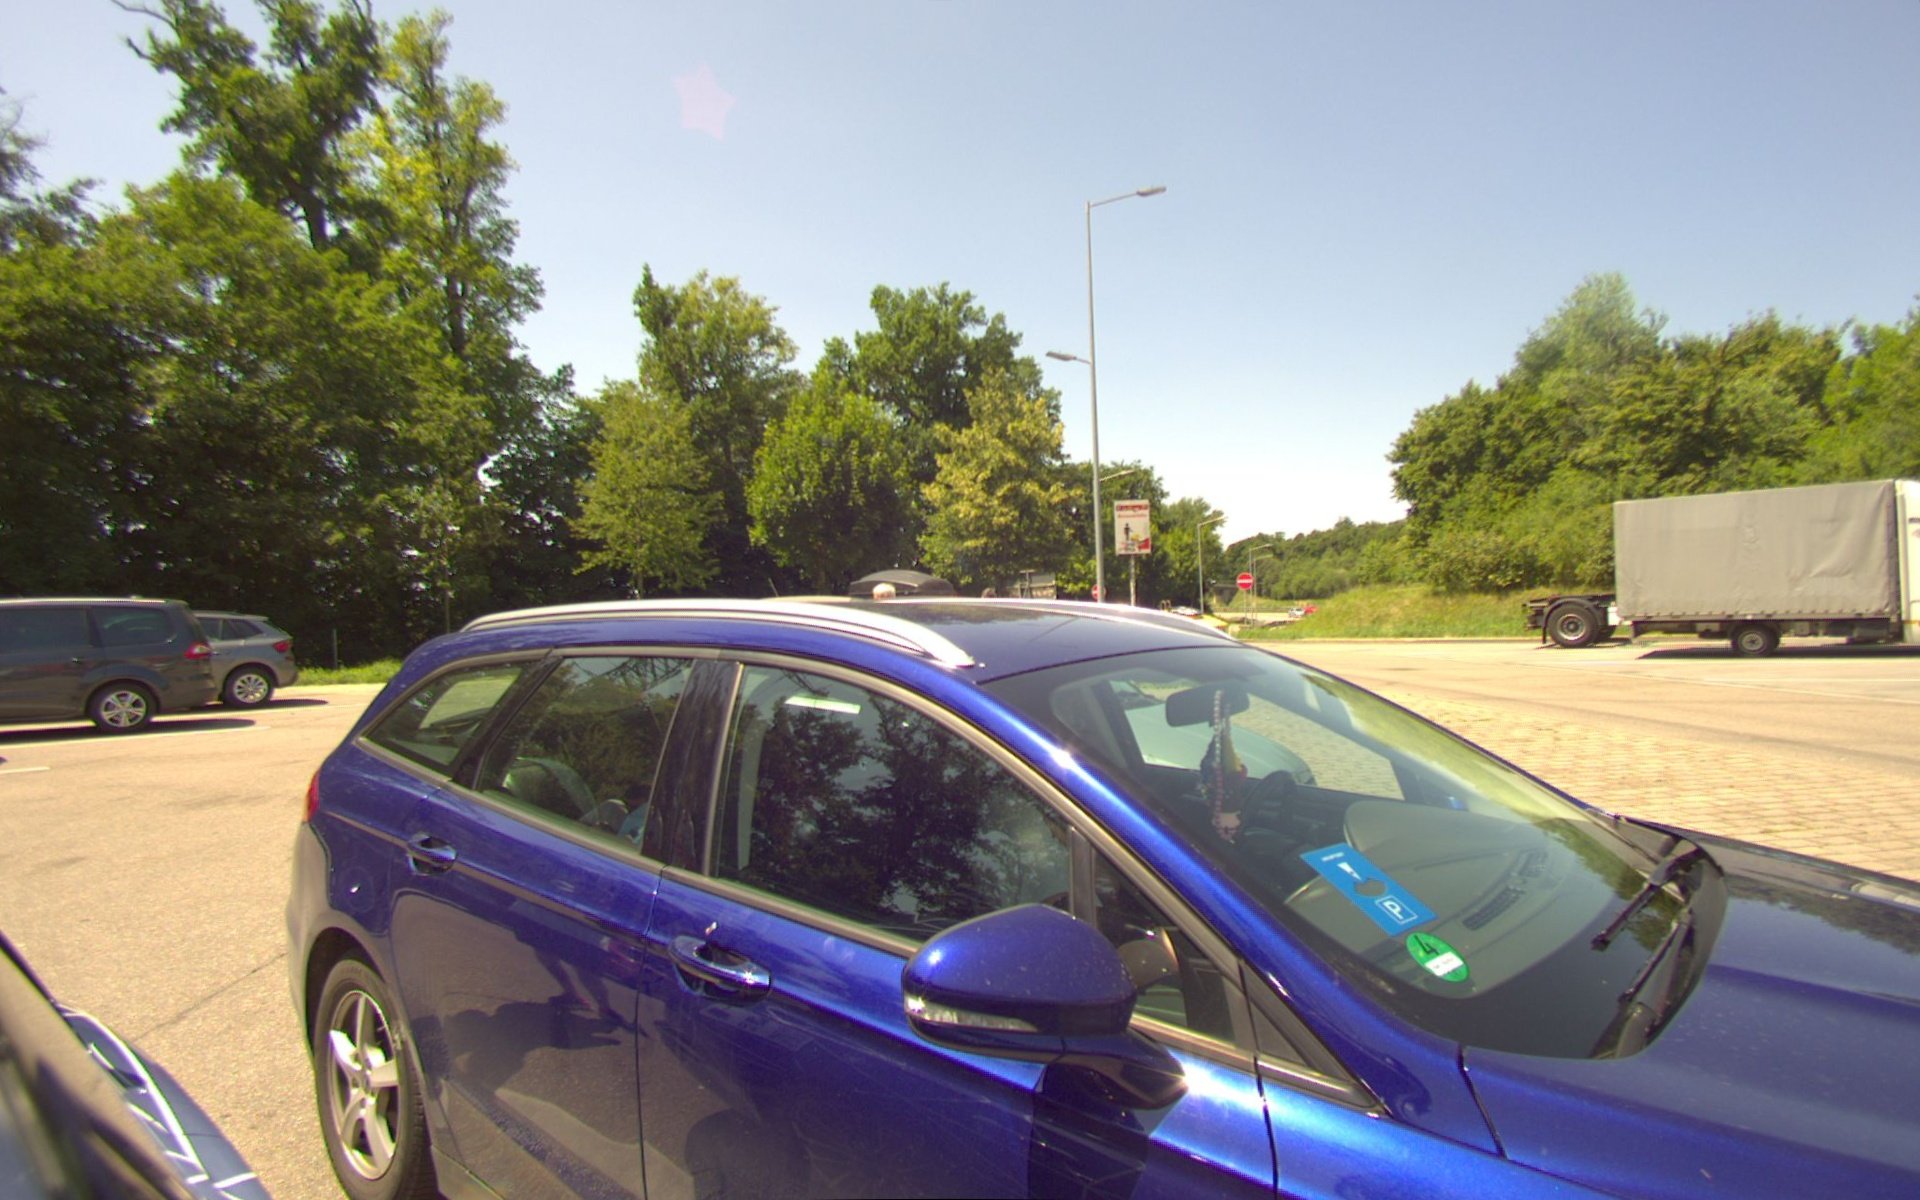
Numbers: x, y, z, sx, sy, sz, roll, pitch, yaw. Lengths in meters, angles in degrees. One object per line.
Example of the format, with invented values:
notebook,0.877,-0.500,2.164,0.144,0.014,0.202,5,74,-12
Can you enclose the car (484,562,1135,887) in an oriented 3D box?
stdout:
car,-1.252,0.637,6.733,4.466,1.476,1.756,-3,-1,40

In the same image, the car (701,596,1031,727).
car,-1.384,0.764,13.555,4.466,1.476,1.756,-3,-1,40

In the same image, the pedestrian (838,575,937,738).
pedestrian,-0.753,0.569,10.552,0.759,1.614,0.663,-2,-1,41

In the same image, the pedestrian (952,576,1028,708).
pedestrian,0.387,0.533,13.236,0.704,1.662,0.650,-1,-1,-35

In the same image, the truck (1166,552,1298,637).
truck,12.809,-0.209,47.626,5.782,3.720,1.987,-2,-1,20

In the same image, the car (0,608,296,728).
car,-12.735,0.977,15.634,3.910,1.598,1.782,-1,-1,-43

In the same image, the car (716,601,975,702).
car,-2.035,0.837,17.109,4.466,1.476,1.756,-3,-1,40

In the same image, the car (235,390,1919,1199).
car,0.213,0.635,2.123,4.466,1.476,1.756,-3,-1,40

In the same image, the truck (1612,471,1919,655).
truck,16.729,-0.628,18.867,7.348,3.152,2.339,-3,-2,41

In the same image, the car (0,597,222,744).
car,-11.707,0.851,12.583,3.910,1.701,1.782,-1,-1,-43

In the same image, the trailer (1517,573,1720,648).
trailer,15.767,0.289,24.347,3.900,1.674,1.456,-2,-1,41
